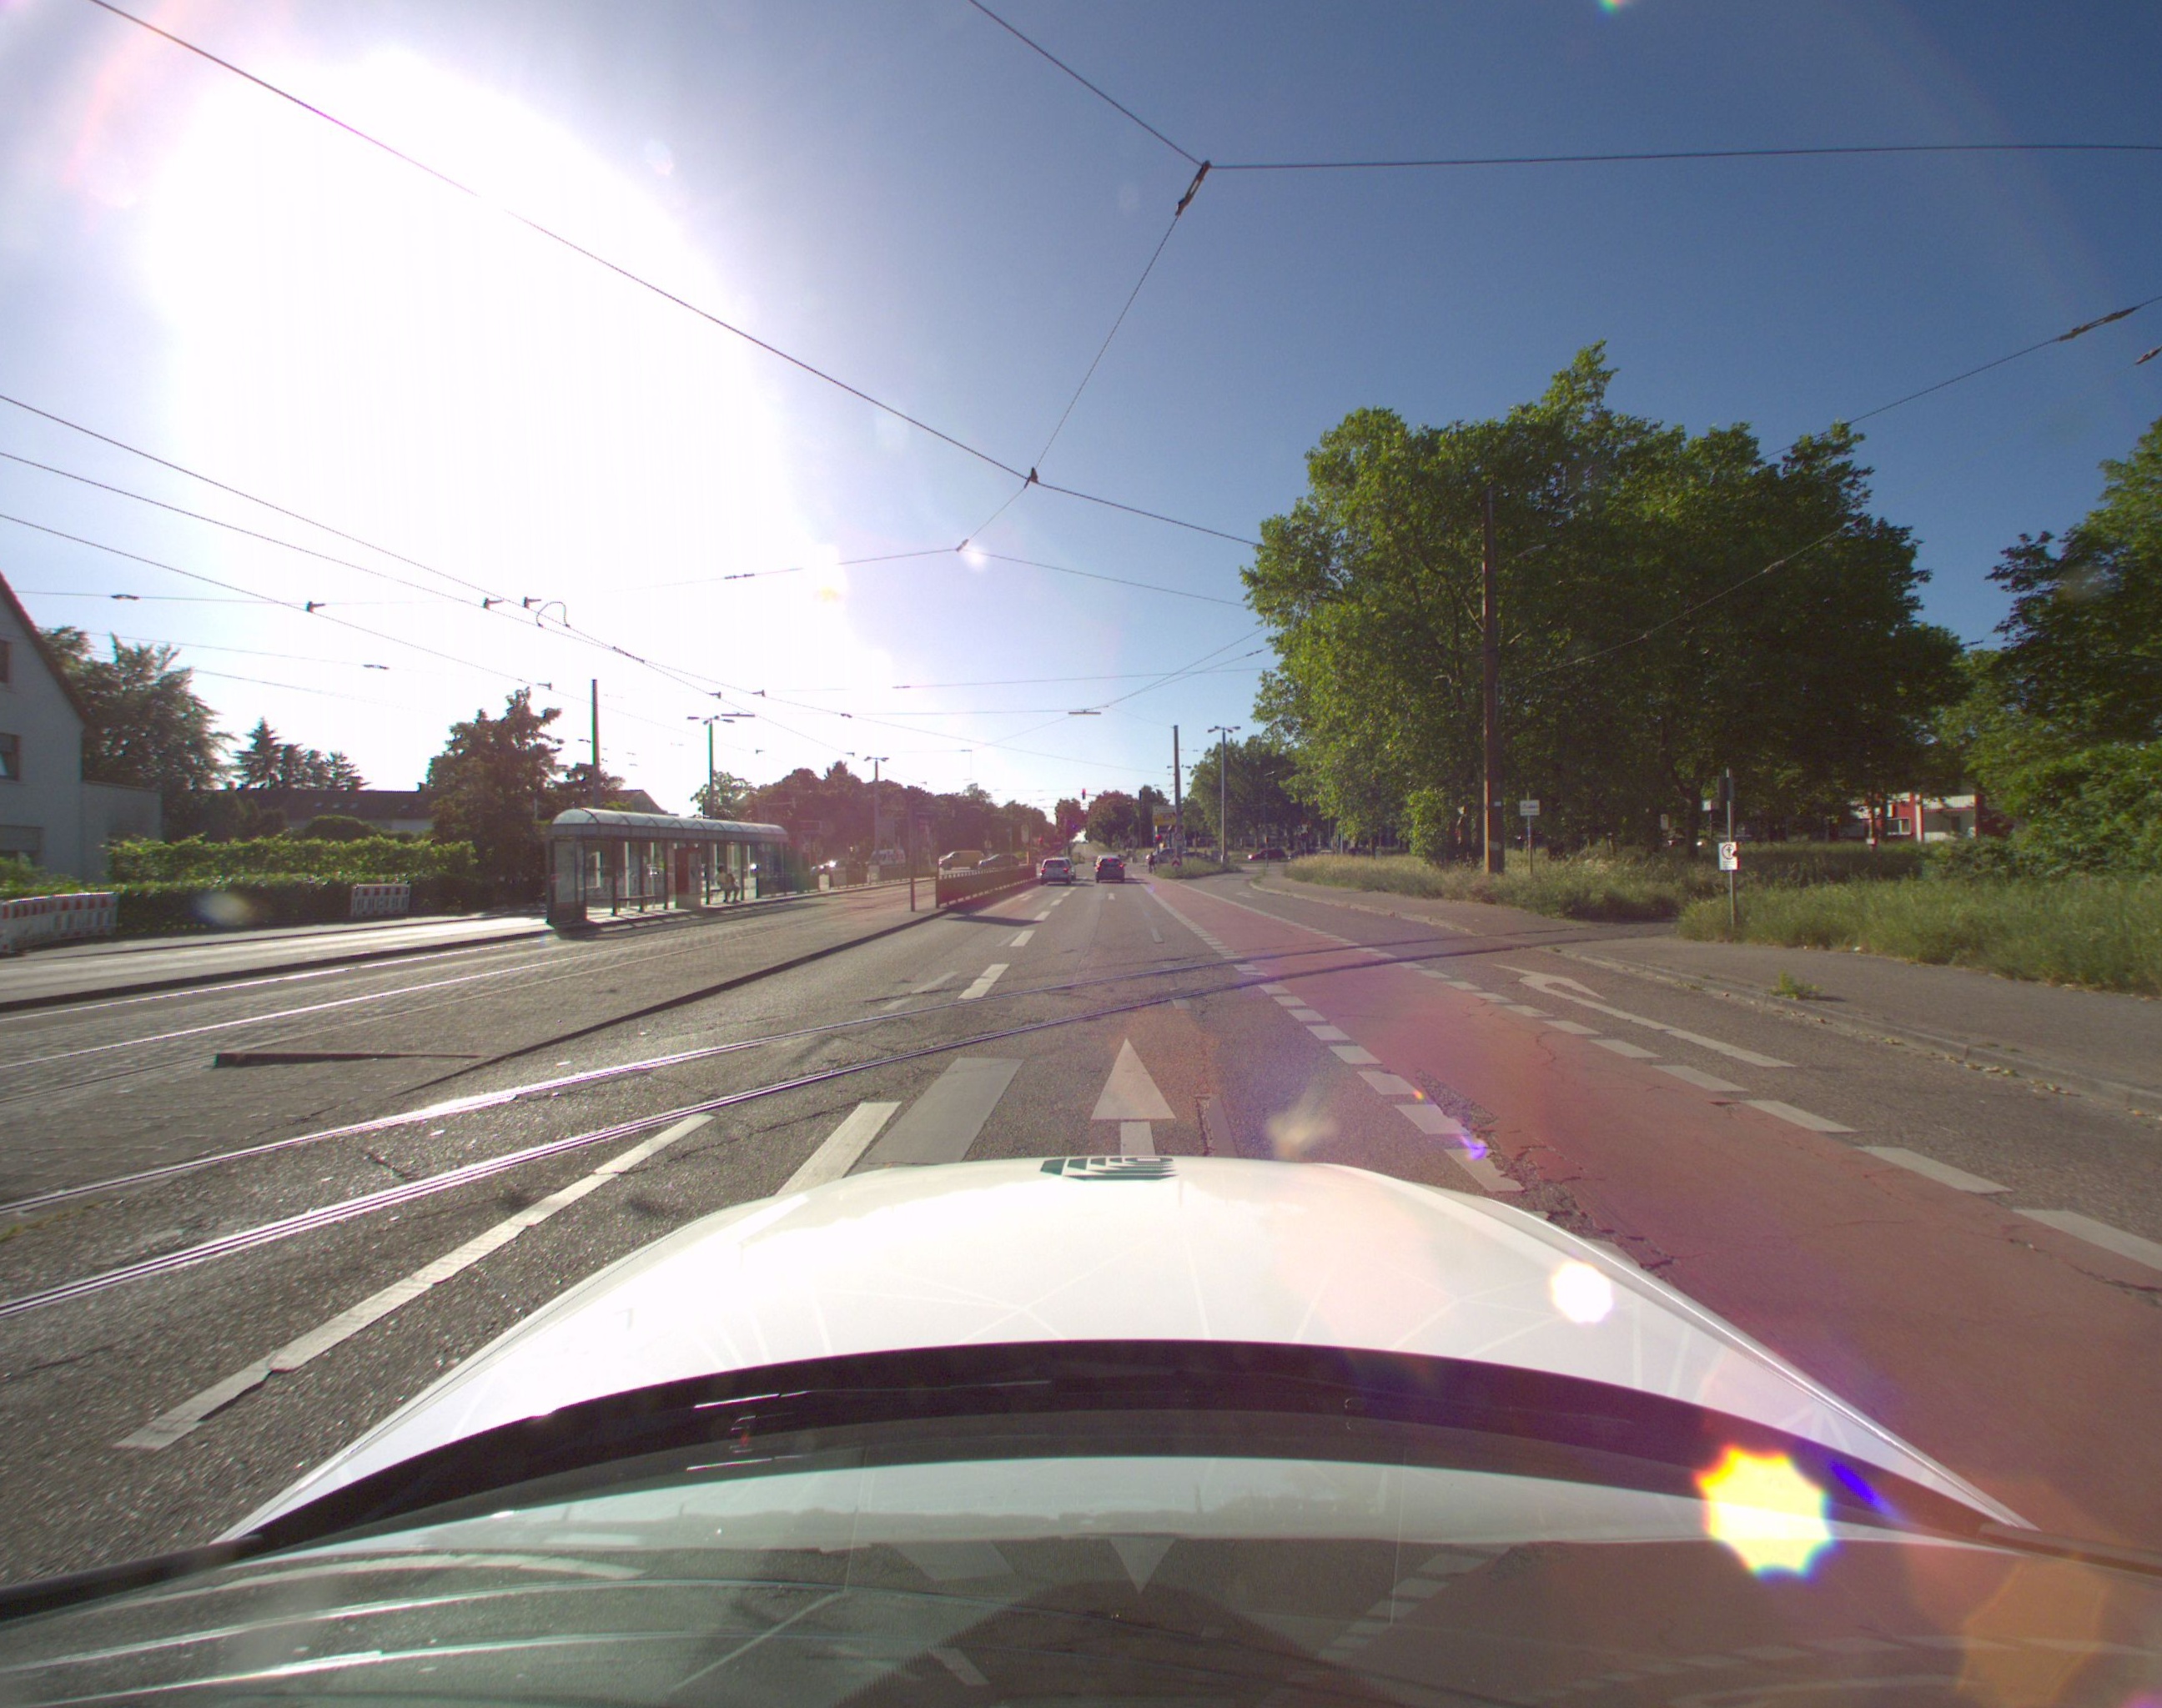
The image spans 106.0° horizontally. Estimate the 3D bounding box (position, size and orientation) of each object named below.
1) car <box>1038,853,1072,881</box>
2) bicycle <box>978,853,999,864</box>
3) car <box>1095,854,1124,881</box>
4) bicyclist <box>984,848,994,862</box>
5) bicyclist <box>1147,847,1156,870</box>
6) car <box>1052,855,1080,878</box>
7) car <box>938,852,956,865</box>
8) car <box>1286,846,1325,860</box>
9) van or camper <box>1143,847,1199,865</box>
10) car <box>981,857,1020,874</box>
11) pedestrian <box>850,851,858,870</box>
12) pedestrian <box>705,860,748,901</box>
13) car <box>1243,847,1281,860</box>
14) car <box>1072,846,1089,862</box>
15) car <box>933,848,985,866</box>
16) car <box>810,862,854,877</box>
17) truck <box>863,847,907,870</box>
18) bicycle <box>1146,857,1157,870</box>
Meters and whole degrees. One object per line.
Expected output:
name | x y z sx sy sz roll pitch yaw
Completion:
car | -1.403 0.703 45.473 1.613 1.417 3.352 -2 0 2
bicycle | -11.175 0.533 98.213 2.401 1.263 0.813 -1 0 -16
car | 1.655 0.760 48.269 1.663 1.462 3.586 -1 0 1
bicyclist | -11.095 0.120 98.244 1.008 1.647 0.813 -1 0 -16
bicyclist | 5.387 0.319 62.097 0.663 1.716 0.948 0 -1 2
car | -0.980 0.810 54.058 1.613 1.457 4.087 -1 0 2
car | -16.786 0.569 101.857 1.829 1.548 3.994 -2 0 -4
car | 29.291 -0.101 106.120 4.704 1.879 1.986 0 0 -21
van or camper | 9.908 0.225 89.723 5.993 1.828 1.985 -1 0 -23
car | -8.369 1.183 84.923 3.632 1.709 1.735 0 0 -31
pedestrian | -24.468 0.716 87.792 0.748 2.013 0.789 -2 0 -10
pedestrian | -13.010 0.955 29.922 1.057 1.453 1.007 -2 -1 1
car | 20.962 -0.048 94.350 4.017 1.402 1.598 -1 0 -21
car | -0.069 -0.011 106.507 1.986 2.014 4.494 0 0 2
car | -13.142 0.347 87.758 5.180 1.879 1.984 0 0 -25
car | -24.974 1.580 81.765 4.009 1.473 1.736 0 0 -27
truck | -23.949 0.513 99.860 1.978 2.565 6.852 -1 0 16
bicycle | 5.389 0.726 62.176 0.719 0.989 2.877 0 0 2
